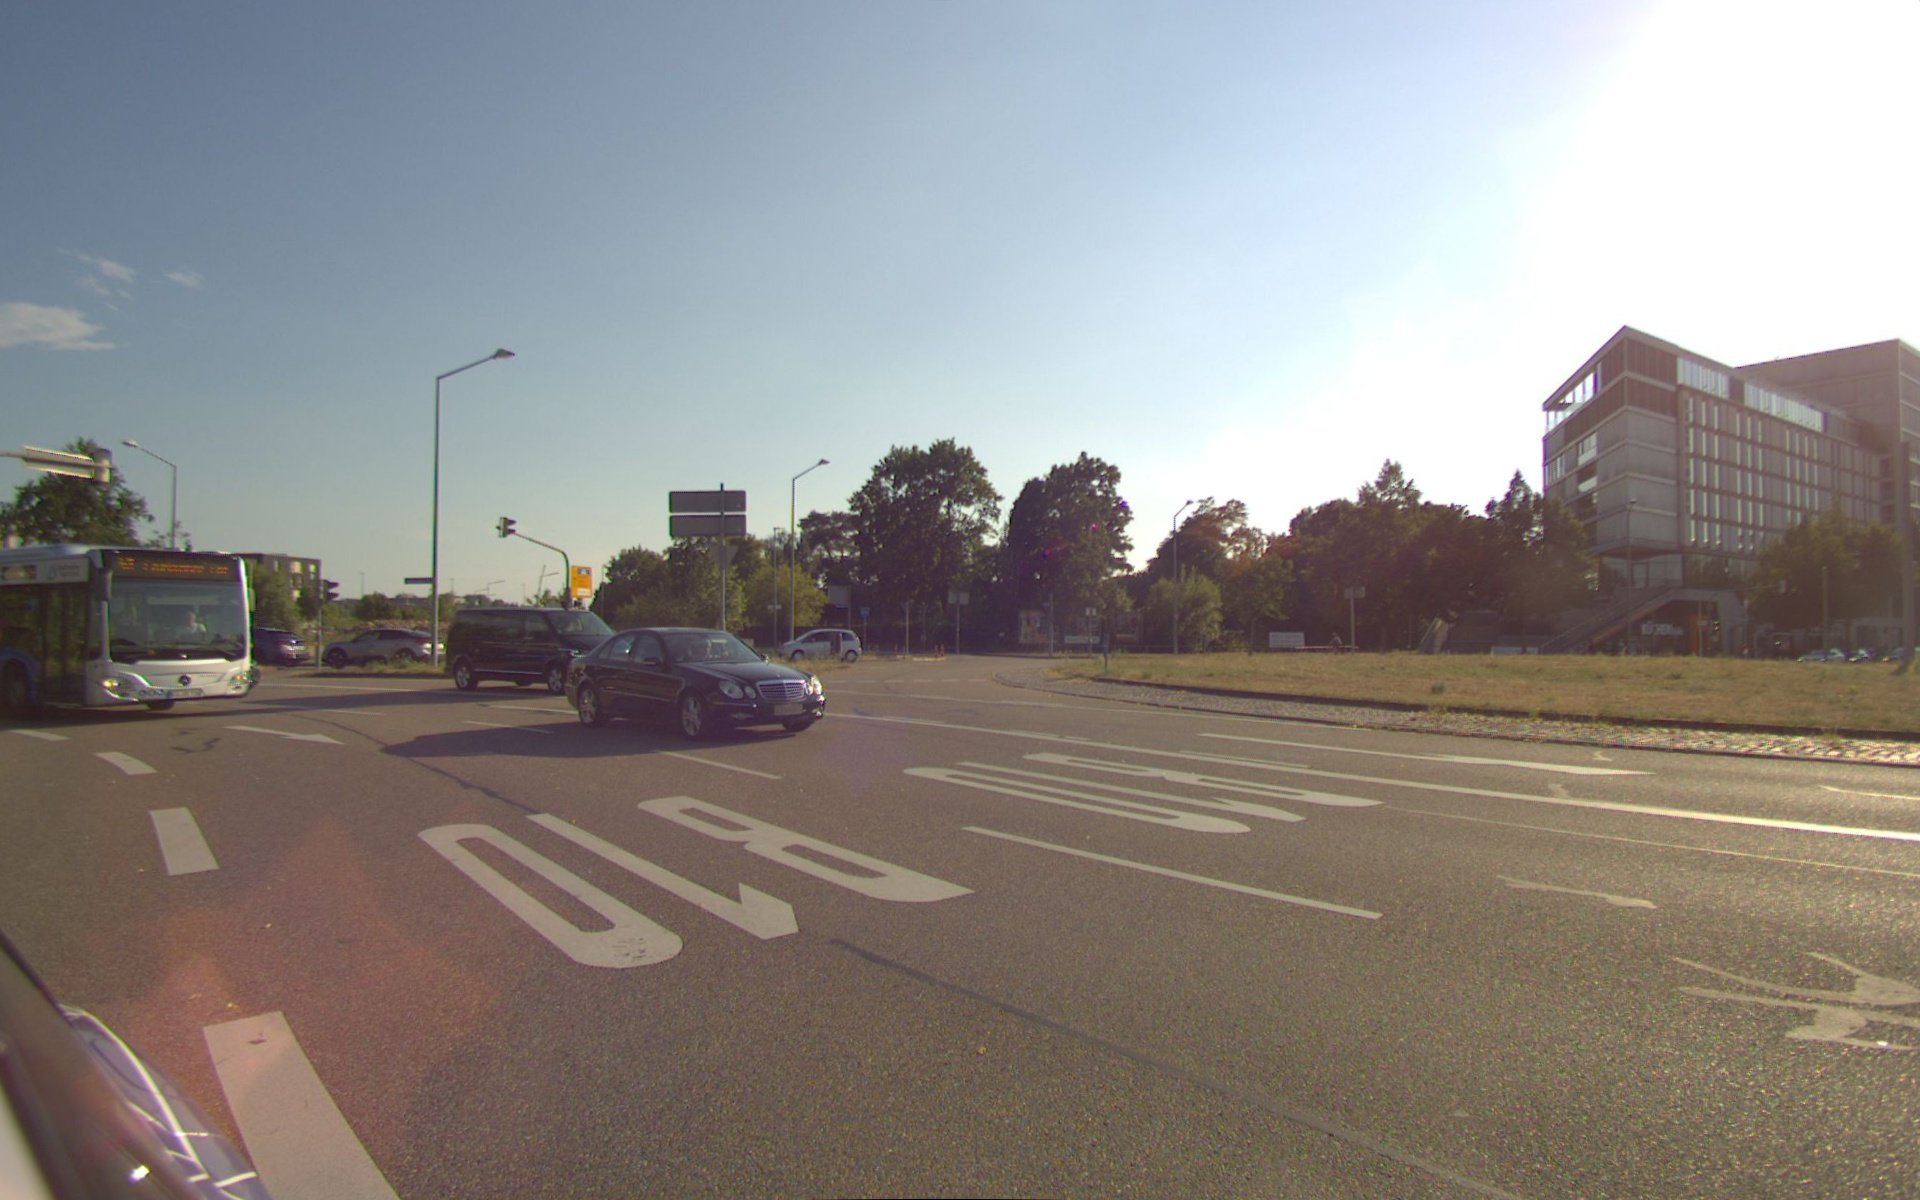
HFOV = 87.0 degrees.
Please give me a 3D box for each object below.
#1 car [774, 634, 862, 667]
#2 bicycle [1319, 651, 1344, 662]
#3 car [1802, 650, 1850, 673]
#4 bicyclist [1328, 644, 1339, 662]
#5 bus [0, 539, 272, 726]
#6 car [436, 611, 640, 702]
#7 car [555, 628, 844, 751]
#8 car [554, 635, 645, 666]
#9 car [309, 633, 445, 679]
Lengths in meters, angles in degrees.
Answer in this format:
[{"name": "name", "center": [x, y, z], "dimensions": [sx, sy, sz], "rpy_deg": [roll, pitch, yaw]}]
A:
[{"name": "car", "center": [-6.834, 2.400, 48.711], "dimensions": [3.875, 1.537, 1.662], "rpy_deg": [1, -2, -23]}, {"name": "bicycle", "center": [27.003, 4.097, 73.576], "dimensions": [1.712, 0.750, 0.476], "rpy_deg": [-1, -3, 26]}, {"name": "car", "center": [57.976, 4.109, 67.734], "dimensions": [3.243, 1.487, 1.489], "rpy_deg": [2, -3, -31]}, {"name": "bicyclist", "center": [27.144, 3.863, 73.539], "dimensions": [0.651, 1.336, 0.514], "rpy_deg": [-1, -3, 27]}, {"name": "bus", "center": [-18.745, 0.608, 20.074], "dimensions": [11.644, 3.066, 2.577], "rpy_deg": [-1, -1, 23]}, {"name": "car", "center": [-10.055, 1.246, 24.019], "dimensions": [4.993, 1.947, 1.843], "rpy_deg": [0, -1, 30]}, {"name": "car", "center": [-3.776, 1.131, 14.201], "dimensions": [4.493, 1.448, 1.786], "rpy_deg": [-2, -2, 43]}, {"name": "car", "center": [-16.132, 2.261, 45.417], "dimensions": [3.765, 1.360, 1.485], "rpy_deg": [1, -2, -17]}, {"name": "car", "center": [-21.921, 2.101, 38.138], "dimensions": [4.143, 1.686, 1.775], "rpy_deg": [0, -2, 2]}]
